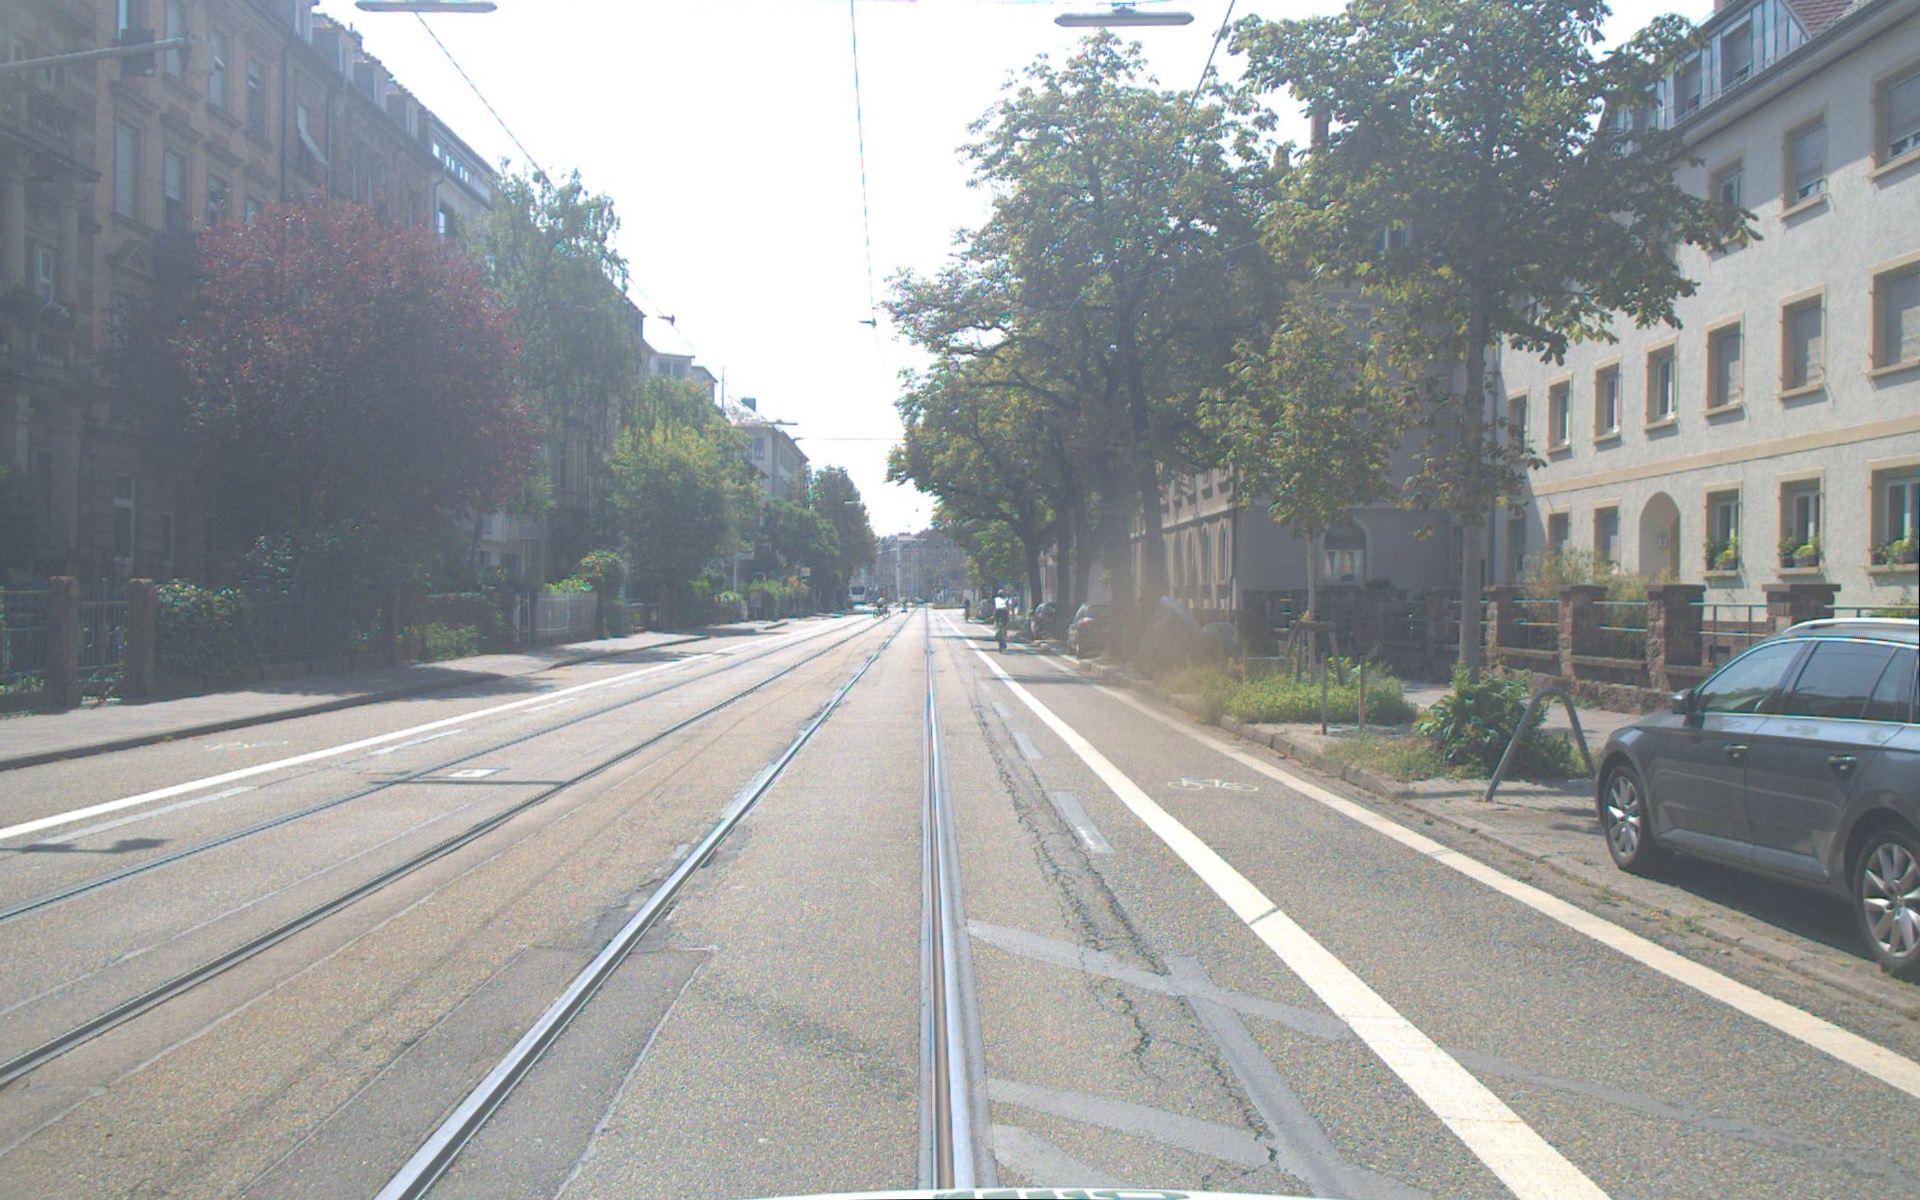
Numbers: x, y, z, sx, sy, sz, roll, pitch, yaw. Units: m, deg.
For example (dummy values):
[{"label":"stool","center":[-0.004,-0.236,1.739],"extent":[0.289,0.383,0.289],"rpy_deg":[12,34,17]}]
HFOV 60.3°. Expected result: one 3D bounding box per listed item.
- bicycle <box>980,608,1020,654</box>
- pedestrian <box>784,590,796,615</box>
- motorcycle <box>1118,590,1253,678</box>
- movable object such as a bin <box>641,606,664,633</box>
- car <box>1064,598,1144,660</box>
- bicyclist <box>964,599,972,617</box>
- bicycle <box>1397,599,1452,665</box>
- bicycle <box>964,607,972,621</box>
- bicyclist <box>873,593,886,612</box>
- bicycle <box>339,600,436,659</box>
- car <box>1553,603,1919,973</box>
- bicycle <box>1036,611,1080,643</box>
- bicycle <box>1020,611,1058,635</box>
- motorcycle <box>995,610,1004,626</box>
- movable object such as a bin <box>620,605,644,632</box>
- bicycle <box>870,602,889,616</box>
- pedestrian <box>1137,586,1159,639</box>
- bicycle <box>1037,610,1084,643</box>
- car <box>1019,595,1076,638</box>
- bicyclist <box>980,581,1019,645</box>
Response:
[{"label":"bicycle","center":[1.154,0.896,48.751],"extent":[1.124,1.291,2.712],"rpy_deg":[0,0,0]},{"label":"pedestrian","center":[-12.177,0.195,118.401],"extent":[0.764,1.787,1.040],"rpy_deg":[0,-1,-1]},{"label":"motorcycle","center":[4.167,0.639,30.702],"extent":[2.303,1.567,0.964],"rpy_deg":[-3,-2,40]},{"label":"movable object such as a bin","center":[-12.585,0.794,67.679],"extent":[0.770,1.094,0.803],"rpy_deg":[2,0,1]},{"label":"car","center":[3.991,0.781,46.441],"extent":[1.803,1.559,4.114],"rpy_deg":[0,2,-2]},{"label":"bicyclist","center":[0.552,0.557,115.242],"extent":[0.567,1.301,0.471],"rpy_deg":[0,-1,1]},{"label":"bicycle","center":[10.104,0.673,36.055],"extent":[0.582,1.382,2.369],"rpy_deg":[1,0,1]},{"label":"bicycle","center":[0.554,0.988,115.275],"extent":[0.576,0.955,2.172],"rpy_deg":[0,0,1]},{"label":"bicyclist","center":[-5.949,0.212,122.395],"extent":[0.742,1.416,0.780],"rpy_deg":[0,-1,14]},{"label":"bicycle","center":[-12.226,0.621,35.348],"extent":[1.775,1.202,0.716],"rpy_deg":[2,0,1]},{"label":"car","center":[4.829,0.780,8.315],"extent":[1.854,1.503,4.839],"rpy_deg":[0,0,-2]},{"label":"bicycle","center":[3.538,0.970,59.711],"extent":[1.572,1.123,0.399],"rpy_deg":[1,0,5]},{"label":"bicycle","center":[3.527,1.028,74.113],"extent":[1.678,1.050,0.566],"rpy_deg":[0,0,-1]},{"label":"motorcycle","center":[2.790,1.262,116.103],"extent":[0.537,1.086,2.330],"rpy_deg":[0,0,-1]},{"label":"movable object such as a bin","center":[-13.384,0.744,67.593],"extent":[0.770,1.094,0.803],"rpy_deg":[2,0,1]},{"label":"bicycle","center":[-5.941,0.660,122.455],"extent":[0.742,1.008,2.299],"rpy_deg":[0,0,16]},{"label":"pedestrian","center":[6.945,0.459,61.125],"extent":[0.692,1.925,0.714],"rpy_deg":[0,-1,0]},{"label":"bicycle","center":[3.664,0.956,60.097],"extent":[1.686,1.169,0.377],"rpy_deg":[1,0,5]},{"label":"car","center":[3.346,0.613,63.958],"extent":[1.803,1.559,4.778],"rpy_deg":[-1,0,-2]},{"label":"bicyclist","center":[1.159,0.376,48.521],"extent":[1.102,1.869,0.955],"rpy_deg":[0,-1,-1]}]
